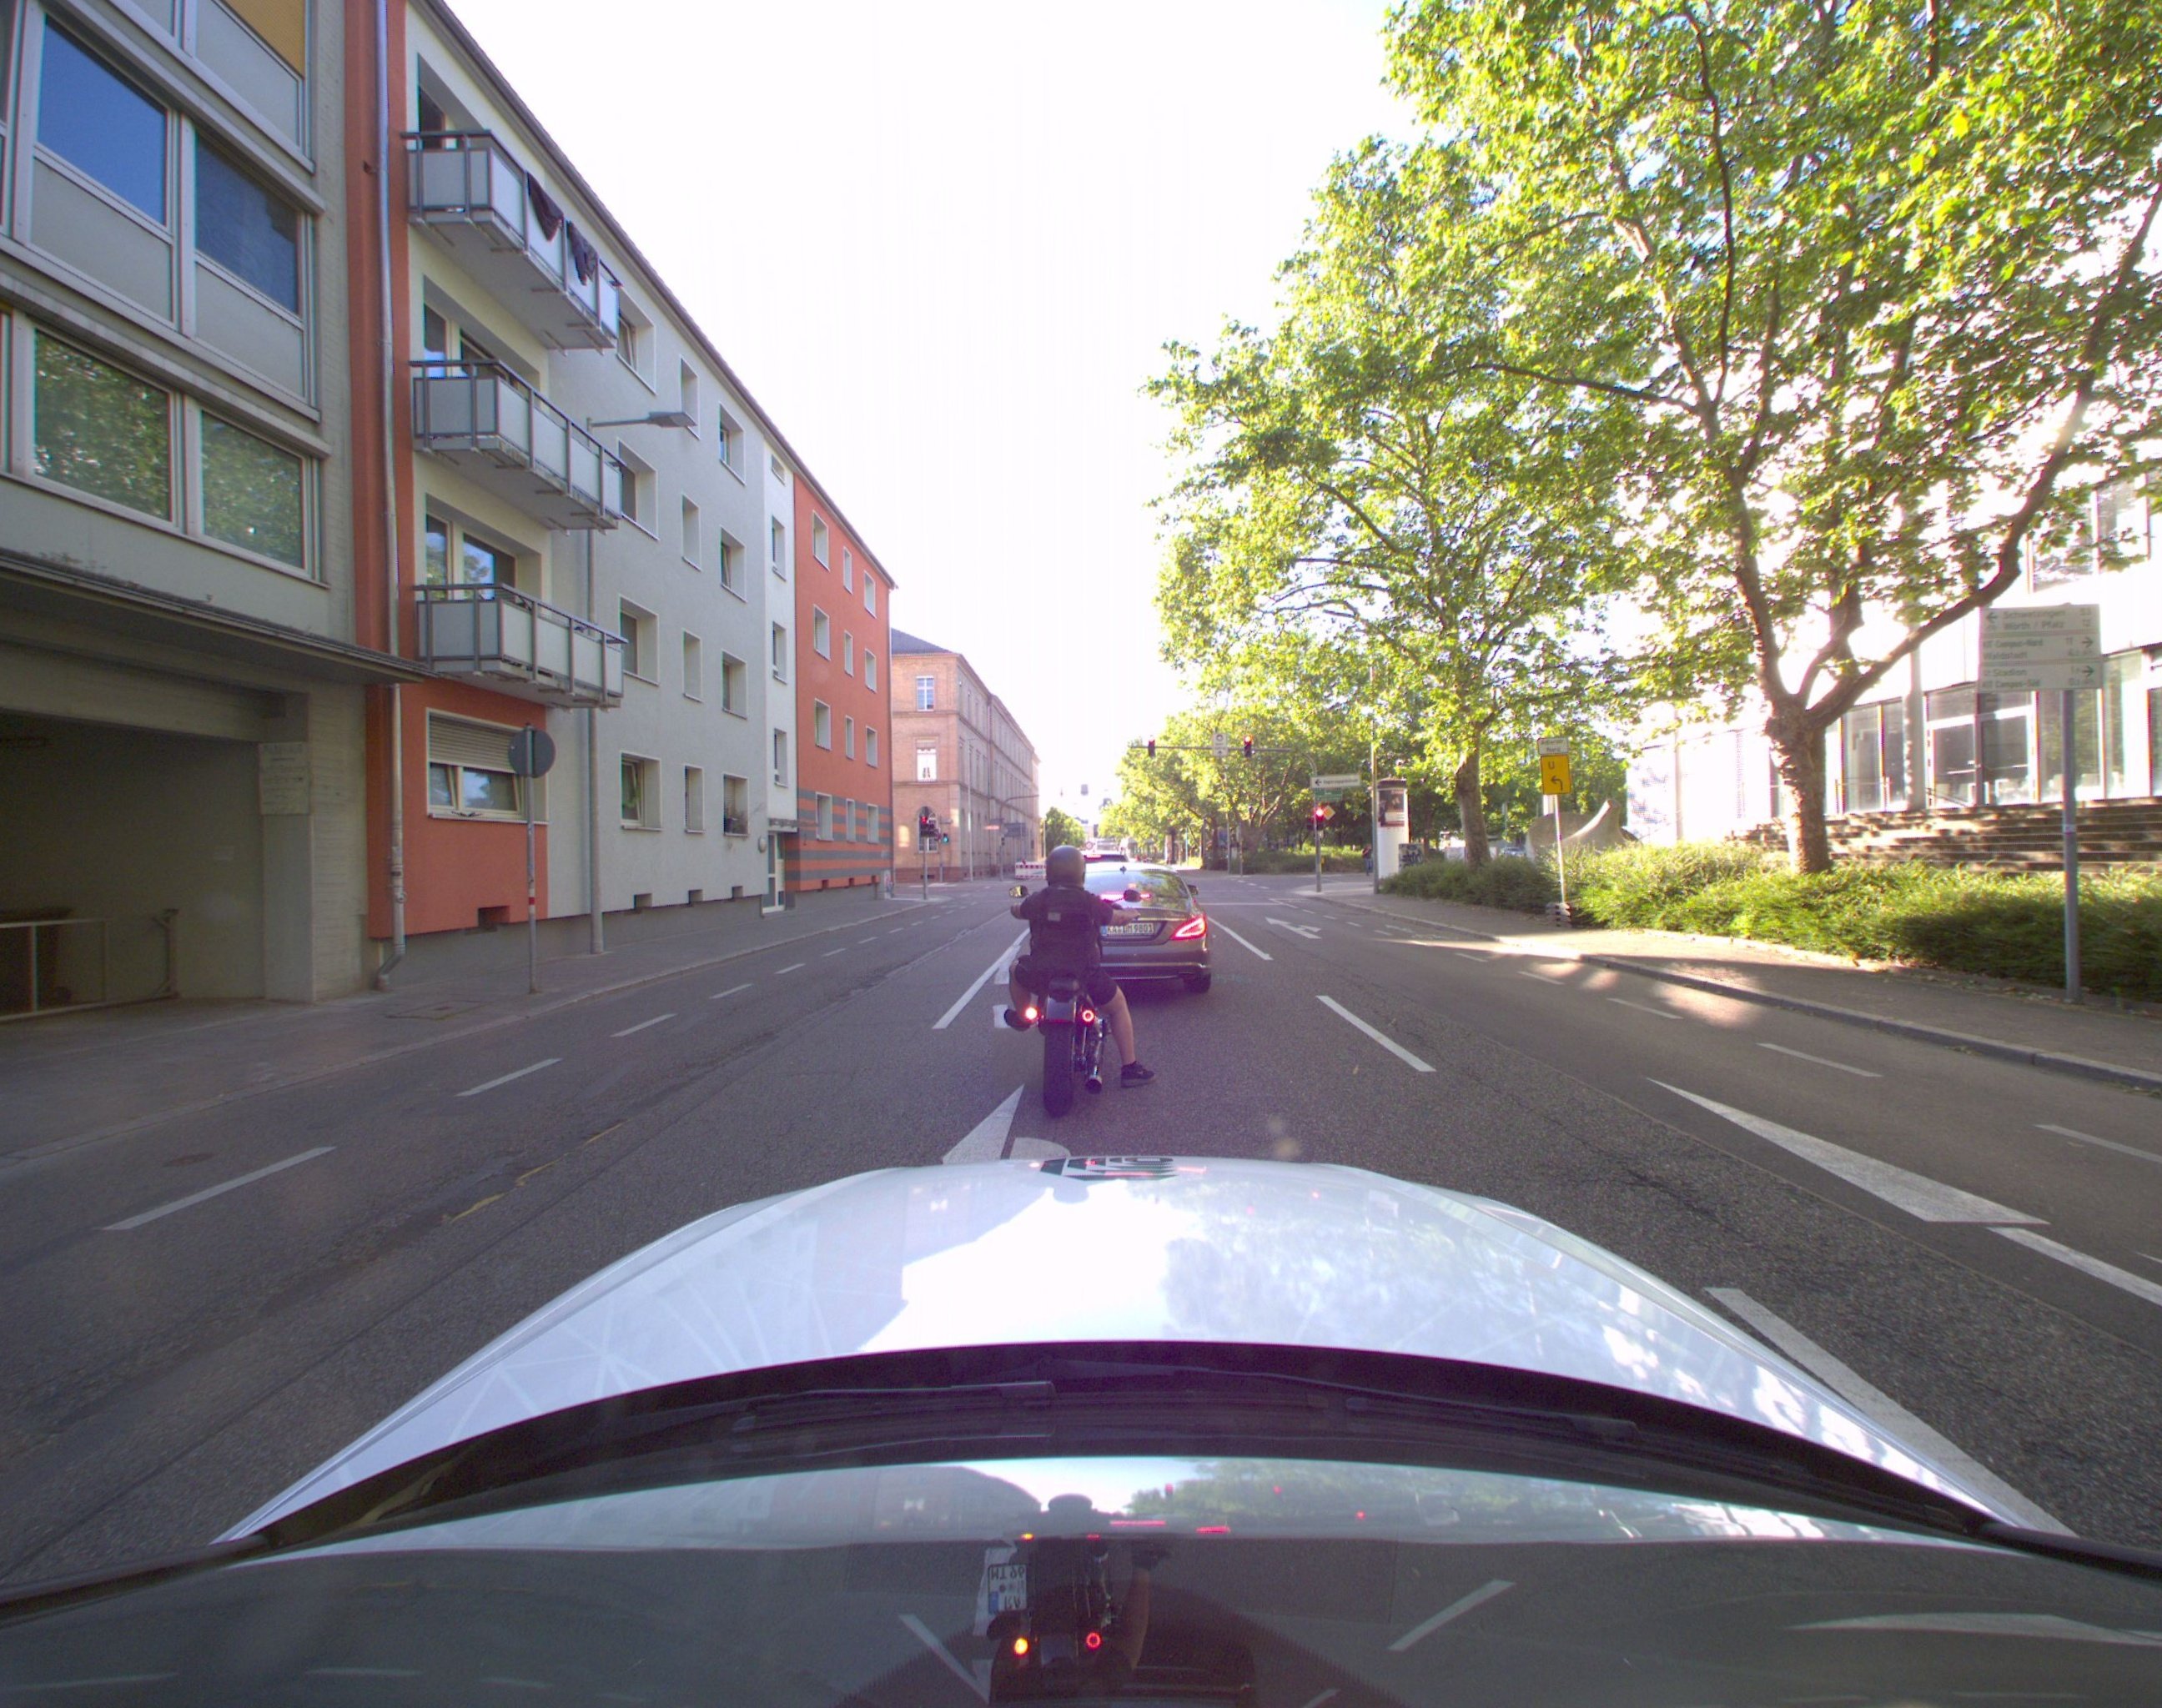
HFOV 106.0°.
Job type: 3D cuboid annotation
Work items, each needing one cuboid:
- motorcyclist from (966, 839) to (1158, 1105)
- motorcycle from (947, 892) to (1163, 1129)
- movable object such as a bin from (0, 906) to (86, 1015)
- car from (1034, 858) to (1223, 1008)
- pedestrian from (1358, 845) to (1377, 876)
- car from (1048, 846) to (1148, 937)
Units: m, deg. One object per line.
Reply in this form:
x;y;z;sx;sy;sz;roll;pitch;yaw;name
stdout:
-0.073;0.702;5.409;1.093;1.566;1.074;0;-1;8;motorcyclist
-0.045;0.910;5.627;1.111;1.207;2.217;0;-1;8;motorcycle
-11.288;1.112;8.652;0.533;1.079;0.723;0;-1;3;movable object such as a bin
0.517;0.778;9.784;1.815;1.437;3.807;0;-1;2;car
16.494;0.359;46.860;0.735;1.778;0.727;0;-1;-10;pedestrian
0.378;0.709;17.073;1.856;1.678;4.001;0;-1;2;car
